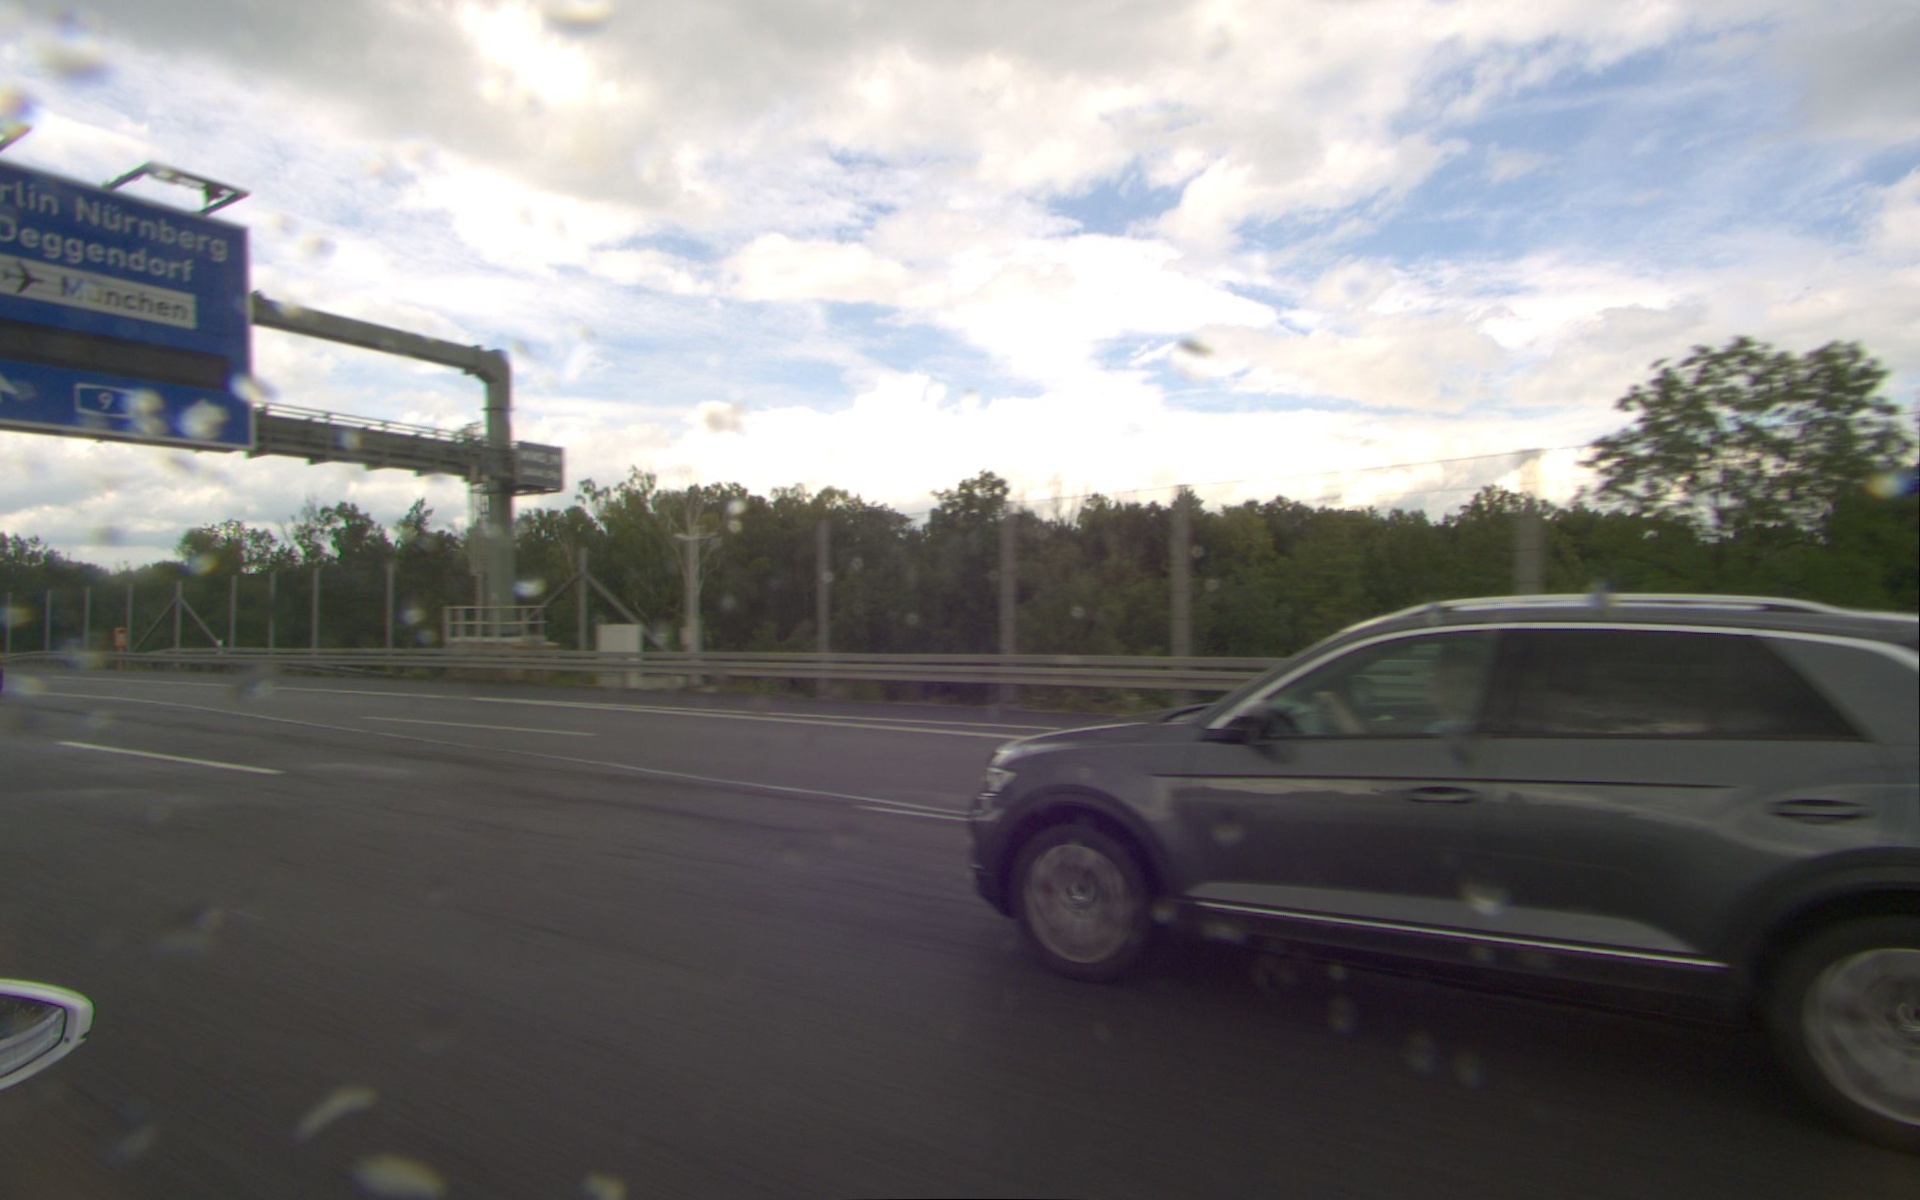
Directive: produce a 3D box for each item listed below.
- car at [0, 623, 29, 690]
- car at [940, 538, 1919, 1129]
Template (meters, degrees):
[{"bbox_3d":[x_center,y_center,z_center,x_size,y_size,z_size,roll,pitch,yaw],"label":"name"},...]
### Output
[{"bbox_3d":[-25.650,1.429,25.331,4.998,1.626,2.099,-2,-2,35],"label":"car"},{"bbox_3d":[1.940,0.669,4.097,3.667,1.582,1.790,-1,-1,30],"label":"car"}]
